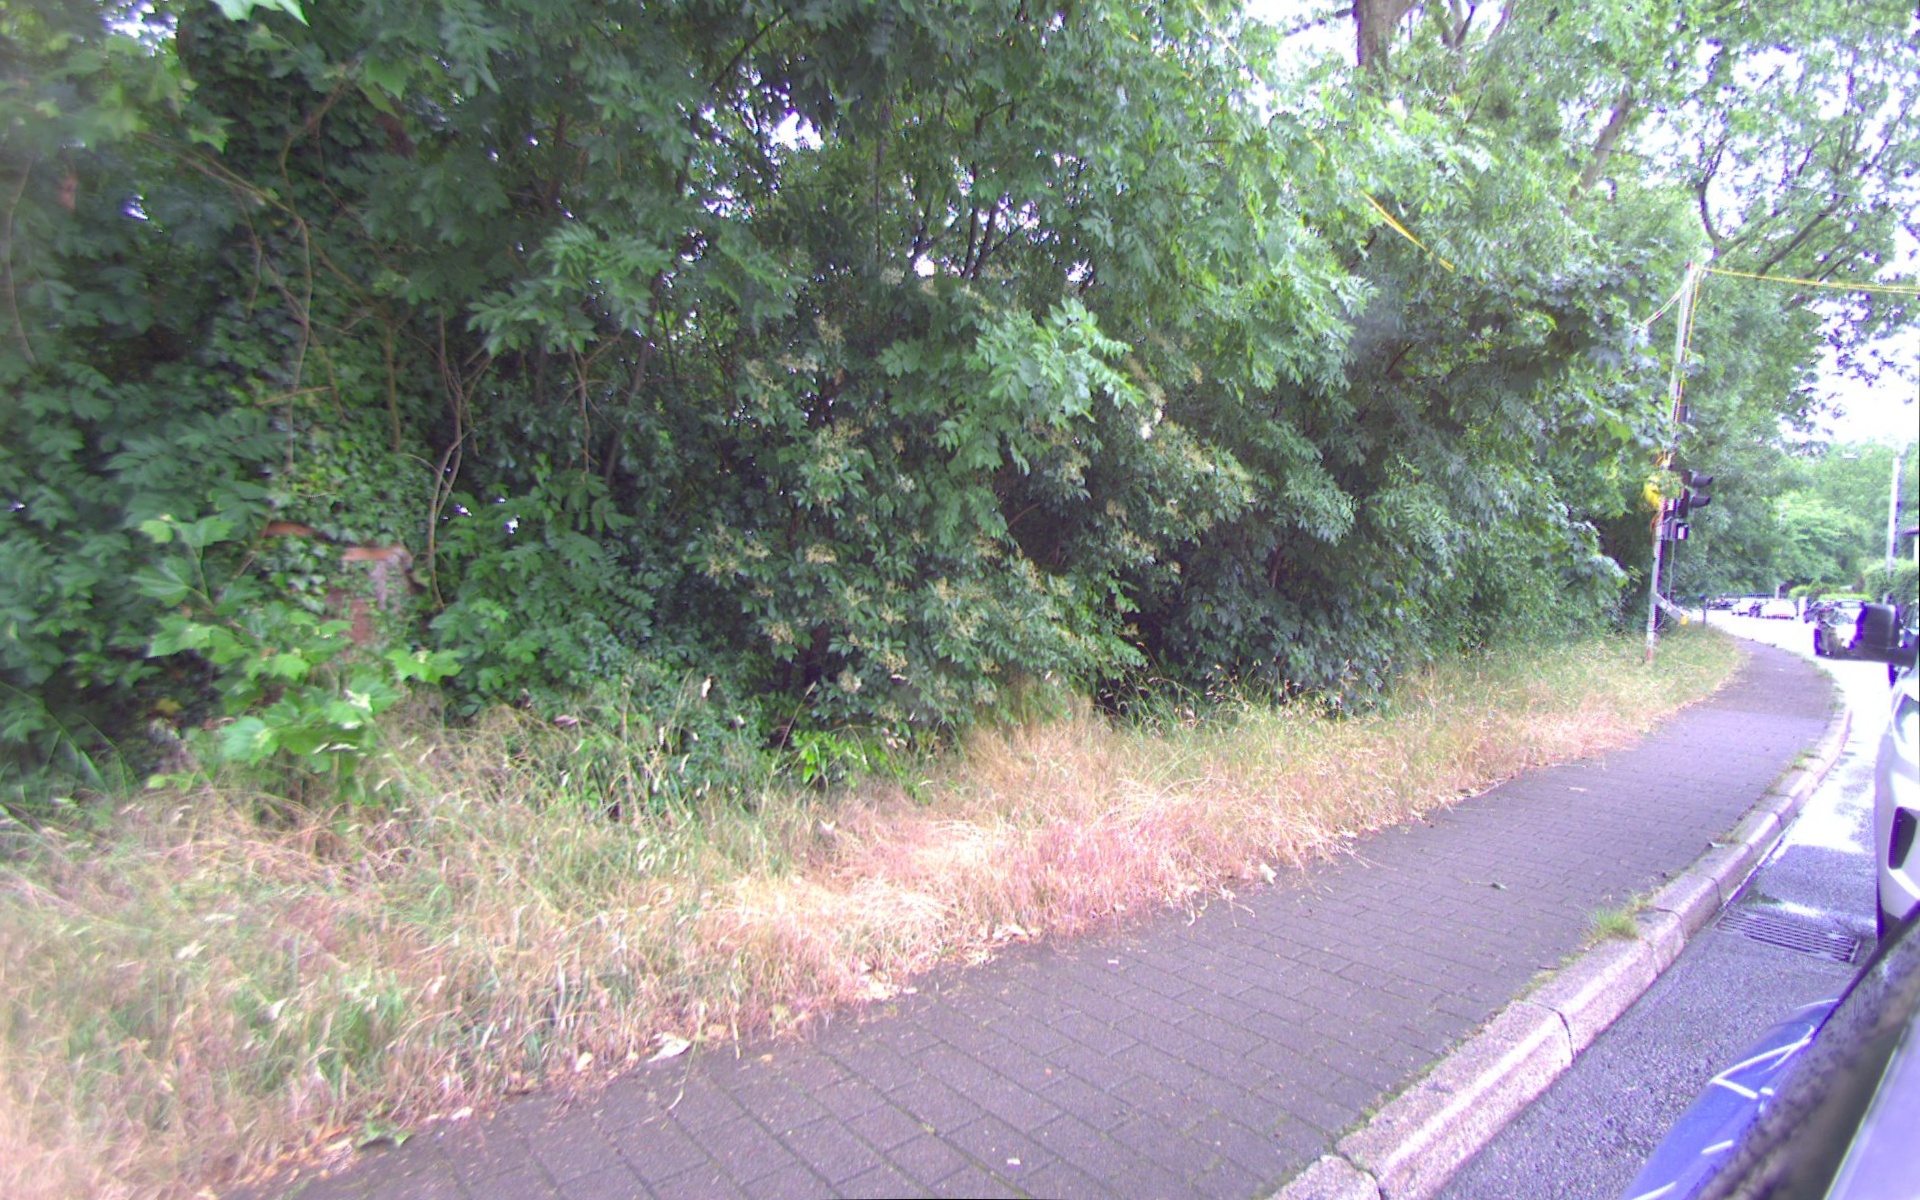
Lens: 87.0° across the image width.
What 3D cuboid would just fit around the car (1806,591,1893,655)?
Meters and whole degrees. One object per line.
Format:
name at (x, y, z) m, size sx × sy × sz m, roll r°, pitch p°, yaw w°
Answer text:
car at (24.109, 0.646, 27.500) m, size 1.663 × 1.610 × 3.946 m, roll 0°, pitch -2°, yaw 40°

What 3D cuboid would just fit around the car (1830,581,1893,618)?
car at (51.303, -0.063, 57.661) m, size 1.984 × 2.039 × 3.955 m, roll 0°, pitch 0°, yaw 32°

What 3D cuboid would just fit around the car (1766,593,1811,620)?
car at (60.508, 0.416, 73.976) m, size 1.984 × 1.884 × 4.311 m, roll 0°, pitch 0°, yaw 32°

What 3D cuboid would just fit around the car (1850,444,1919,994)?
car at (5.819, 0.393, 4.562) m, size 5.118 × 1.917 × 2.044 m, roll -1°, pitch 0°, yaw -41°

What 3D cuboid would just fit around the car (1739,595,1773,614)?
car at (64.848, 0.348, 82.458) m, size 1.752 × 1.547 × 3.550 m, roll 0°, pitch 0°, yaw 32°
